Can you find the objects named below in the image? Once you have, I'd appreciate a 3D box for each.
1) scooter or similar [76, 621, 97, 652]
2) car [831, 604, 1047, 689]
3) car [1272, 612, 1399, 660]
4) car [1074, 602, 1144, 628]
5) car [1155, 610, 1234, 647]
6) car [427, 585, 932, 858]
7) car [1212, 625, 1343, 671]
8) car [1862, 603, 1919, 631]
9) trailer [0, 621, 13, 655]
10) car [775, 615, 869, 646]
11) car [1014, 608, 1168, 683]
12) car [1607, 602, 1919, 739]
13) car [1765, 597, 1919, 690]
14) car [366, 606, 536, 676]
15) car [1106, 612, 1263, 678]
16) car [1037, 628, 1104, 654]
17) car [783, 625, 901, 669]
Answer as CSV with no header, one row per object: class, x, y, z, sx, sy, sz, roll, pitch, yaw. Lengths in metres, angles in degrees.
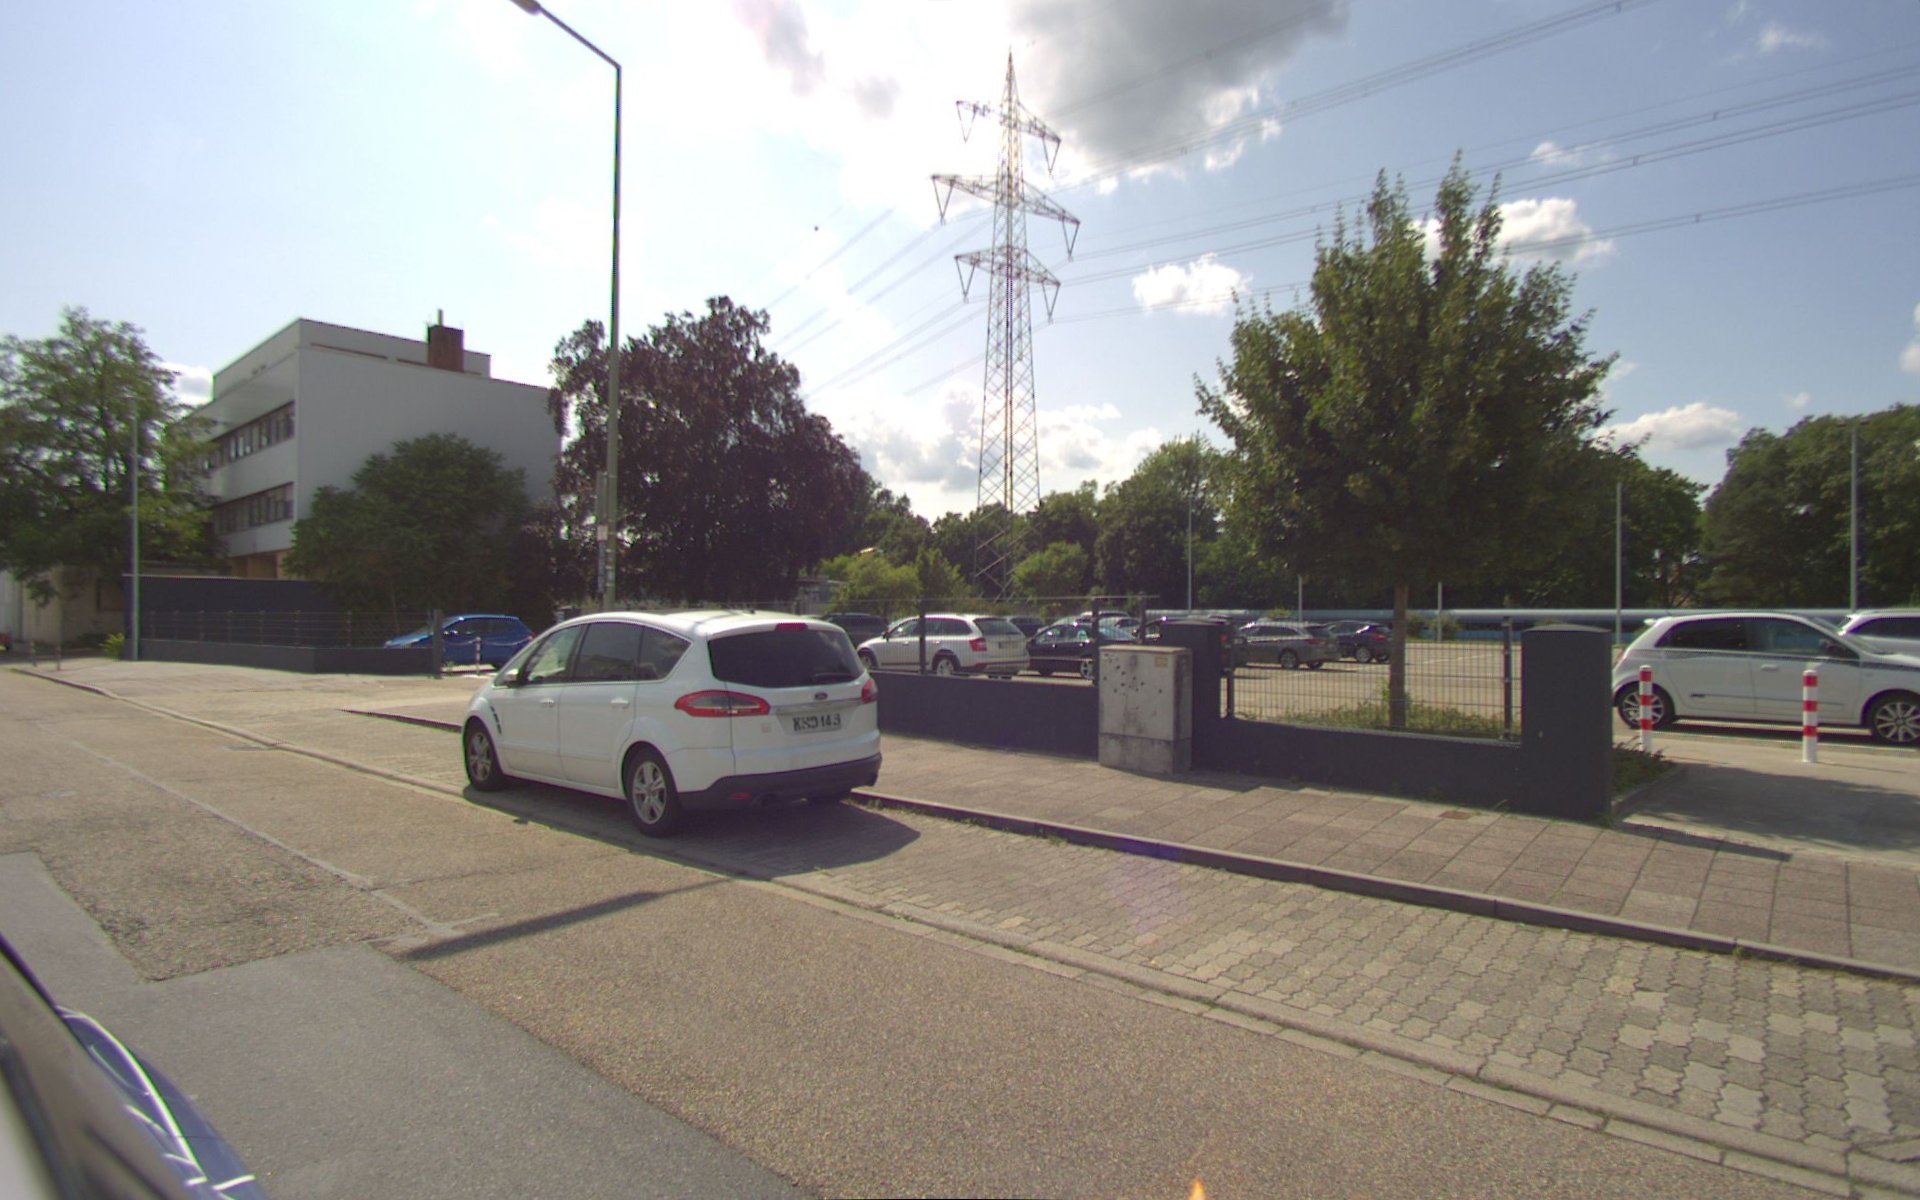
scooter or similar,-38.611,1.610,44.750,1.360,1.288,0.477,0,2,41
car,-0.570,0.918,21.913,4.847,1.649,1.803,0,-1,45
car,13.256,1.243,35.811,3.988,1.630,1.634,0,-1,33
car,7.211,0.726,48.780,3.273,1.239,1.682,2,-1,-44
car,11.787,1.403,50.776,3.720,1.798,1.992,1,-1,-39
car,-2.611,0.763,8.650,4.750,1.721,1.848,0,0,41
car,9.992,1.486,32.051,1.517,1.332,3.768,1,-1,-38
car,33.749,0.601,34.753,1.743,0.976,3.910,1,-1,-38
trailer,-43.833,1.713,45.228,4.334,1.449,1.749,0,2,41
car,-6.583,1.464,48.709,4.232,1.419,1.831,2,-1,-44
car,3.234,1.085,25.362,1.850,1.721,3.483,1,-1,-43
car,10.457,0.796,12.620,3.759,1.518,1.851,0,-1,44
car,17.983,0.805,18.876,1.803,1.667,4.448,2,-1,-44
car,-13.490,1.049,26.958,1.877,1.721,3.610,0,-1,40
car,6.397,1.237,29.145,1.851,1.721,4.070,1,-1,-44
car,5.606,2.056,51.111,3.273,1.239,1.682,2,-1,-44
car,-4.291,1.704,37.293,4.150,1.513,1.682,2,-1,-44
